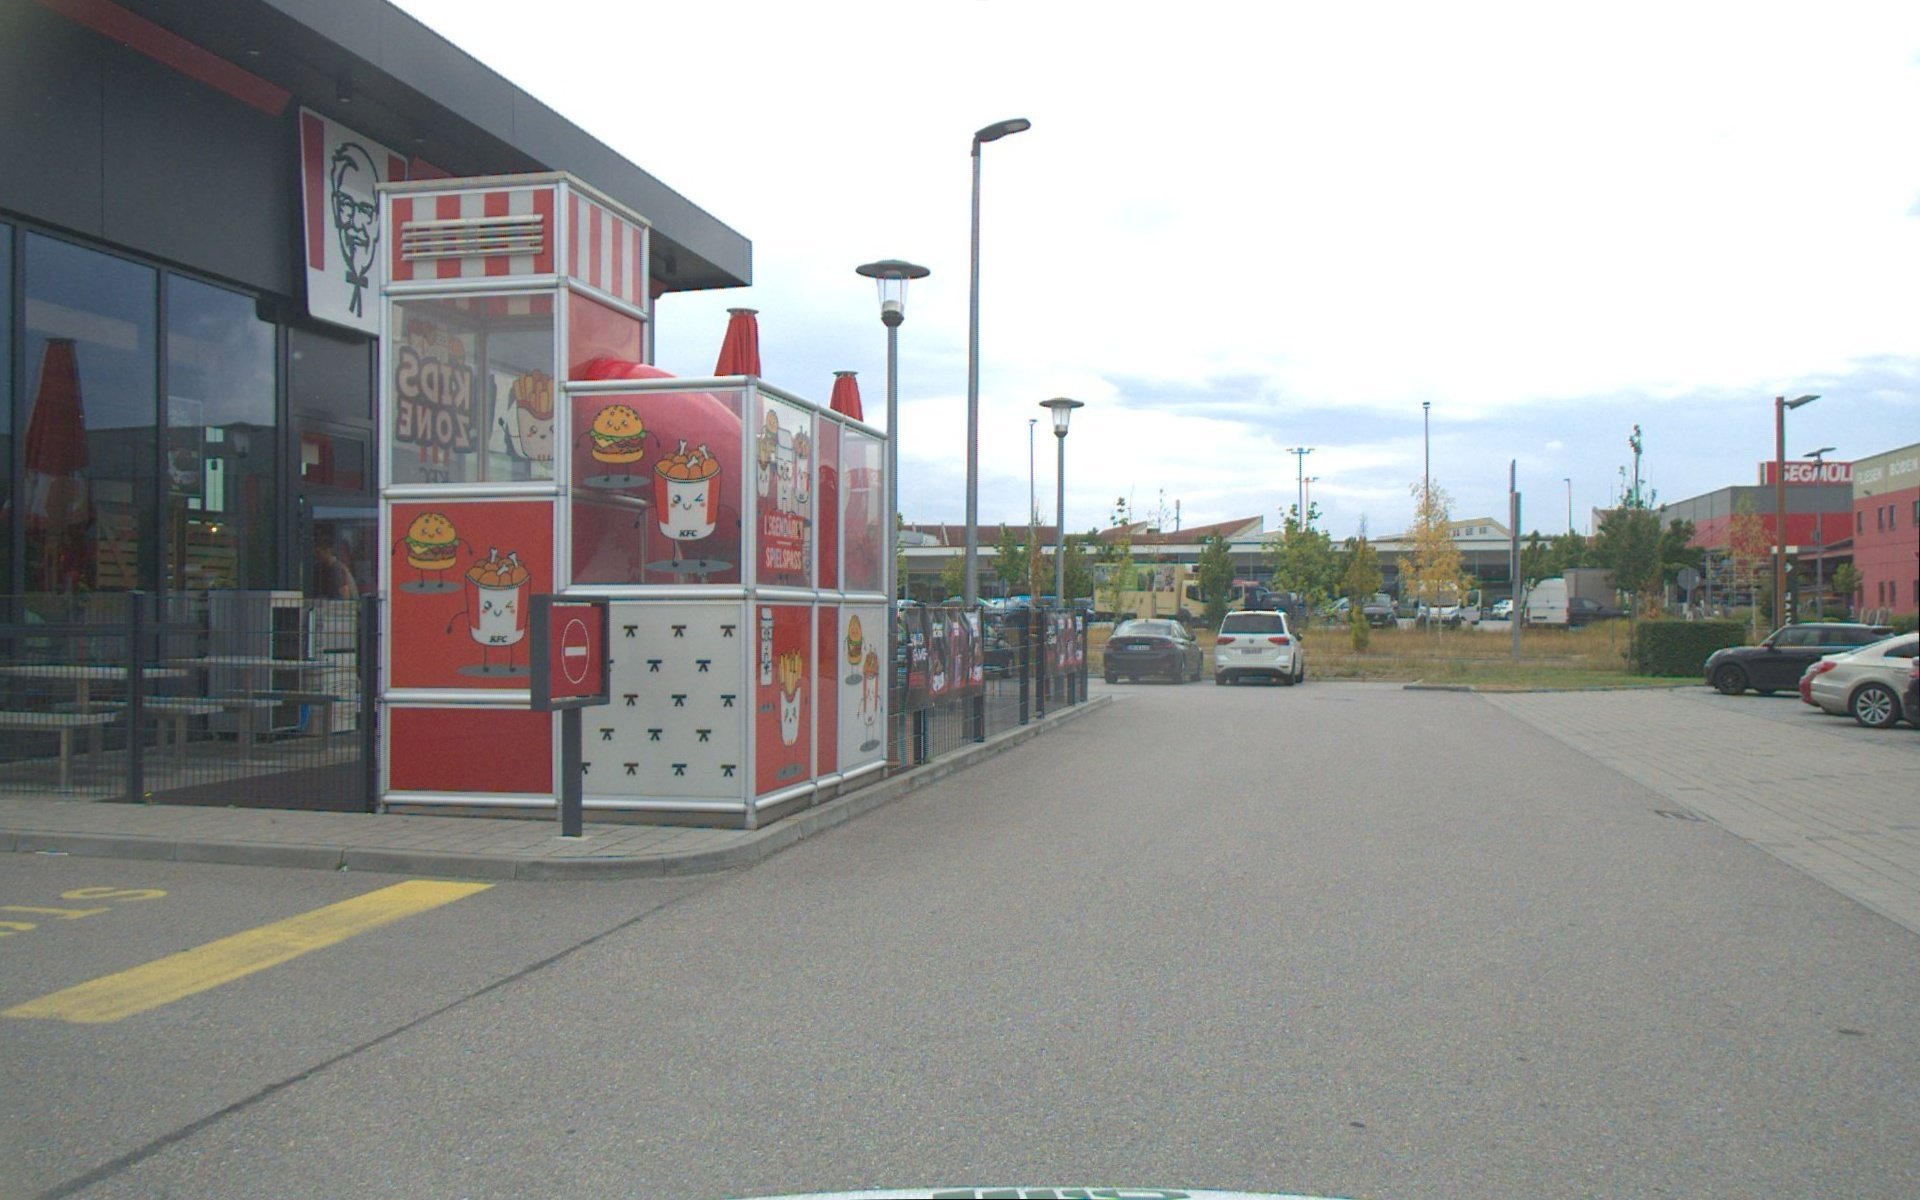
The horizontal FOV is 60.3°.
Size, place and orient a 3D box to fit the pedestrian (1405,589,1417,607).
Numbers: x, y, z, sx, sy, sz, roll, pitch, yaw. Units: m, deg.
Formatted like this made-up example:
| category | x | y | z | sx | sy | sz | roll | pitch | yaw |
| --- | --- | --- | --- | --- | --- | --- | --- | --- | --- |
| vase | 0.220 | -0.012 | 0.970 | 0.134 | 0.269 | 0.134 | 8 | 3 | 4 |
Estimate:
| category | x | y | z | sx | sy | sz | roll | pitch | yaw |
| --- | --- | --- | --- | --- | --- | --- | --- | --- | --- |
| pedestrian | 37.798 | -0.171 | 138.723 | 0.642 | 1.454 | 0.793 | -1 | 1 | -23 |

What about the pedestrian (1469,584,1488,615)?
| category | x | y | z | sx | sy | sz | roll | pitch | yaw |
| --- | --- | --- | --- | --- | --- | --- | --- | --- | --- |
| pedestrian | 24.737 | -0.021 | 78.977 | 0.768 | 1.454 | 0.979 | 0 | 1 | 12 |

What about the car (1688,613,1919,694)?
| category | x | y | z | sx | sy | sz | roll | pitch | yaw |
| --- | --- | --- | --- | --- | --- | --- | --- | --- | --- |
| car | 16.687 | 1.023 | 32.739 | 1.670 | 1.437 | 3.876 | 1 | 0 | -39 |

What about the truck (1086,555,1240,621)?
| category | x | y | z | sx | sy | sz | roll | pitch | yaw |
| --- | --- | --- | --- | --- | --- | --- | --- | --- | --- |
| truck | 10.447 | -0.658 | 85.988 | 2.998 | 3.251 | 8.319 | -1 | 1 | -37 |

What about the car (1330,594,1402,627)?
| category | x | y | z | sx | sy | sz | roll | pitch | yaw |
| --- | --- | --- | --- | --- | --- | --- | --- | --- | --- |
| car | 22.681 | 0.574 | 92.441 | 3.902 | 1.768 | 1.893 | 0 | 1 | 14 |

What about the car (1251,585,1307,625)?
| category | x | y | z | sx | sy | sz | roll | pitch | yaw |
| --- | --- | --- | --- | --- | --- | --- | --- | --- | --- |
| car | 16.182 | 0.257 | 83.653 | 2.028 | 1.917 | 5.071 | 0 | 0 | 20 |

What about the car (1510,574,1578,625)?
| category | x | y | z | sx | sy | sz | roll | pitch | yaw |
| --- | --- | --- | --- | --- | --- | --- | --- | --- | --- |
| car | 28.078 | -0.052 | 79.702 | 2.288 | 2.307 | 6.512 | 0 | 1 | 12 |

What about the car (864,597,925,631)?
| category | x | y | z | sx | sy | sz | roll | pitch | yaw |
| --- | --- | --- | --- | --- | --- | --- | --- | --- | --- |
| car | -3.647 | 0.771 | 93.107 | 1.952 | 1.802 | 4.323 | 0 | 1 | 19 |

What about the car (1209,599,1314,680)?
| category | x | y | z | sx | sy | sz | roll | pitch | yaw |
| --- | --- | --- | --- | --- | --- | --- | --- | --- | --- |
| car | 6.989 | 0.934 | 38.045 | 1.944 | 1.743 | 4.374 | 0 | -2 | 16 |

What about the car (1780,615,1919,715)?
| category | x | y | z | sx | sy | sz | roll | pitch | yaw |
| --- | --- | --- | --- | --- | --- | --- | --- | --- | --- |
| car | 15.257 | 1.027 | 25.981 | 1.670 | 1.490 | 3.945 | 1 | 0 | -38 |

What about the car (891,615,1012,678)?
| category | x | y | z | sx | sy | sz | roll | pitch | yaw |
| --- | --- | --- | --- | --- | --- | --- | --- | --- | --- |
| car | -0.140 | 1.140 | 40.173 | 1.842 | 1.437 | 4.072 | 0 | -2 | 16 |

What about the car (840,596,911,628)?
| category | x | y | z | sx | sy | sz | roll | pitch | yaw |
| --- | --- | --- | --- | --- | --- | --- | --- | --- | --- |
| car | -5.105 | 0.697 | 99.461 | 3.920 | 1.802 | 1.992 | 0 | 1 | 36 |

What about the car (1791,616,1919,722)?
| category | x | y | z | sx | sy | sz | roll | pitch | yaw |
| --- | --- | --- | --- | --- | --- | --- | --- | --- | --- |
| car | 14.244 | 0.986 | 23.129 | 1.734 | 1.437 | 4.402 | 1 | 0 | -36 |

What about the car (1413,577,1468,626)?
| category | x | y | z | sx | sy | sz | roll | pitch | yaw |
| --- | --- | --- | --- | --- | --- | --- | --- | --- | --- |
| car | 23.488 | 0.009 | 80.976 | 2.357 | 2.253 | 6.065 | 0 | 1 | 14 |

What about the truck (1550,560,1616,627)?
| category | x | y | z | sx | sy | sz | roll | pitch | yaw |
| --- | --- | --- | --- | --- | --- | --- | --- | --- | --- |
| truck | 37.168 | -0.472 | 98.947 | 2.591 | 3.808 | 8.264 | 0 | 1 | 13 |

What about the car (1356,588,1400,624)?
| category | x | y | z | sx | sy | sz | roll | pitch | yaw |
| --- | --- | --- | --- | --- | --- | --- | --- | --- | --- |
| car | 20.583 | 0.269 | 81.474 | 2.027 | 1.667 | 5.075 | 0 | 1 | 14 |

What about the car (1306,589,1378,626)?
| category | x | y | z | sx | sy | sz | roll | pitch | yaw |
| --- | --- | --- | --- | --- | --- | --- | --- | --- | --- |
| car | 22.350 | 0.425 | 96.936 | 3.902 | 2.048 | 2.002 | -1 | 1 | 7 |

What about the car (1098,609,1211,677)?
| category | x | y | z | sx | sy | sz | roll | pitch | yaw |
| --- | --- | --- | --- | --- | --- | --- | --- | --- | --- |
| car | 4.616 | 1.021 | 38.735 | 1.900 | 1.492 | 4.518 | 0 | -2 | 16 |

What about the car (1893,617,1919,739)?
| category | x | y | z | sx | sy | sz | roll | pitch | yaw |
| --- | --- | --- | --- | --- | --- | --- | --- | --- | --- |
| car | 13.537 | 0.990 | 19.305 | 1.668 | 1.489 | 4.353 | 1 | 0 | -35 |
